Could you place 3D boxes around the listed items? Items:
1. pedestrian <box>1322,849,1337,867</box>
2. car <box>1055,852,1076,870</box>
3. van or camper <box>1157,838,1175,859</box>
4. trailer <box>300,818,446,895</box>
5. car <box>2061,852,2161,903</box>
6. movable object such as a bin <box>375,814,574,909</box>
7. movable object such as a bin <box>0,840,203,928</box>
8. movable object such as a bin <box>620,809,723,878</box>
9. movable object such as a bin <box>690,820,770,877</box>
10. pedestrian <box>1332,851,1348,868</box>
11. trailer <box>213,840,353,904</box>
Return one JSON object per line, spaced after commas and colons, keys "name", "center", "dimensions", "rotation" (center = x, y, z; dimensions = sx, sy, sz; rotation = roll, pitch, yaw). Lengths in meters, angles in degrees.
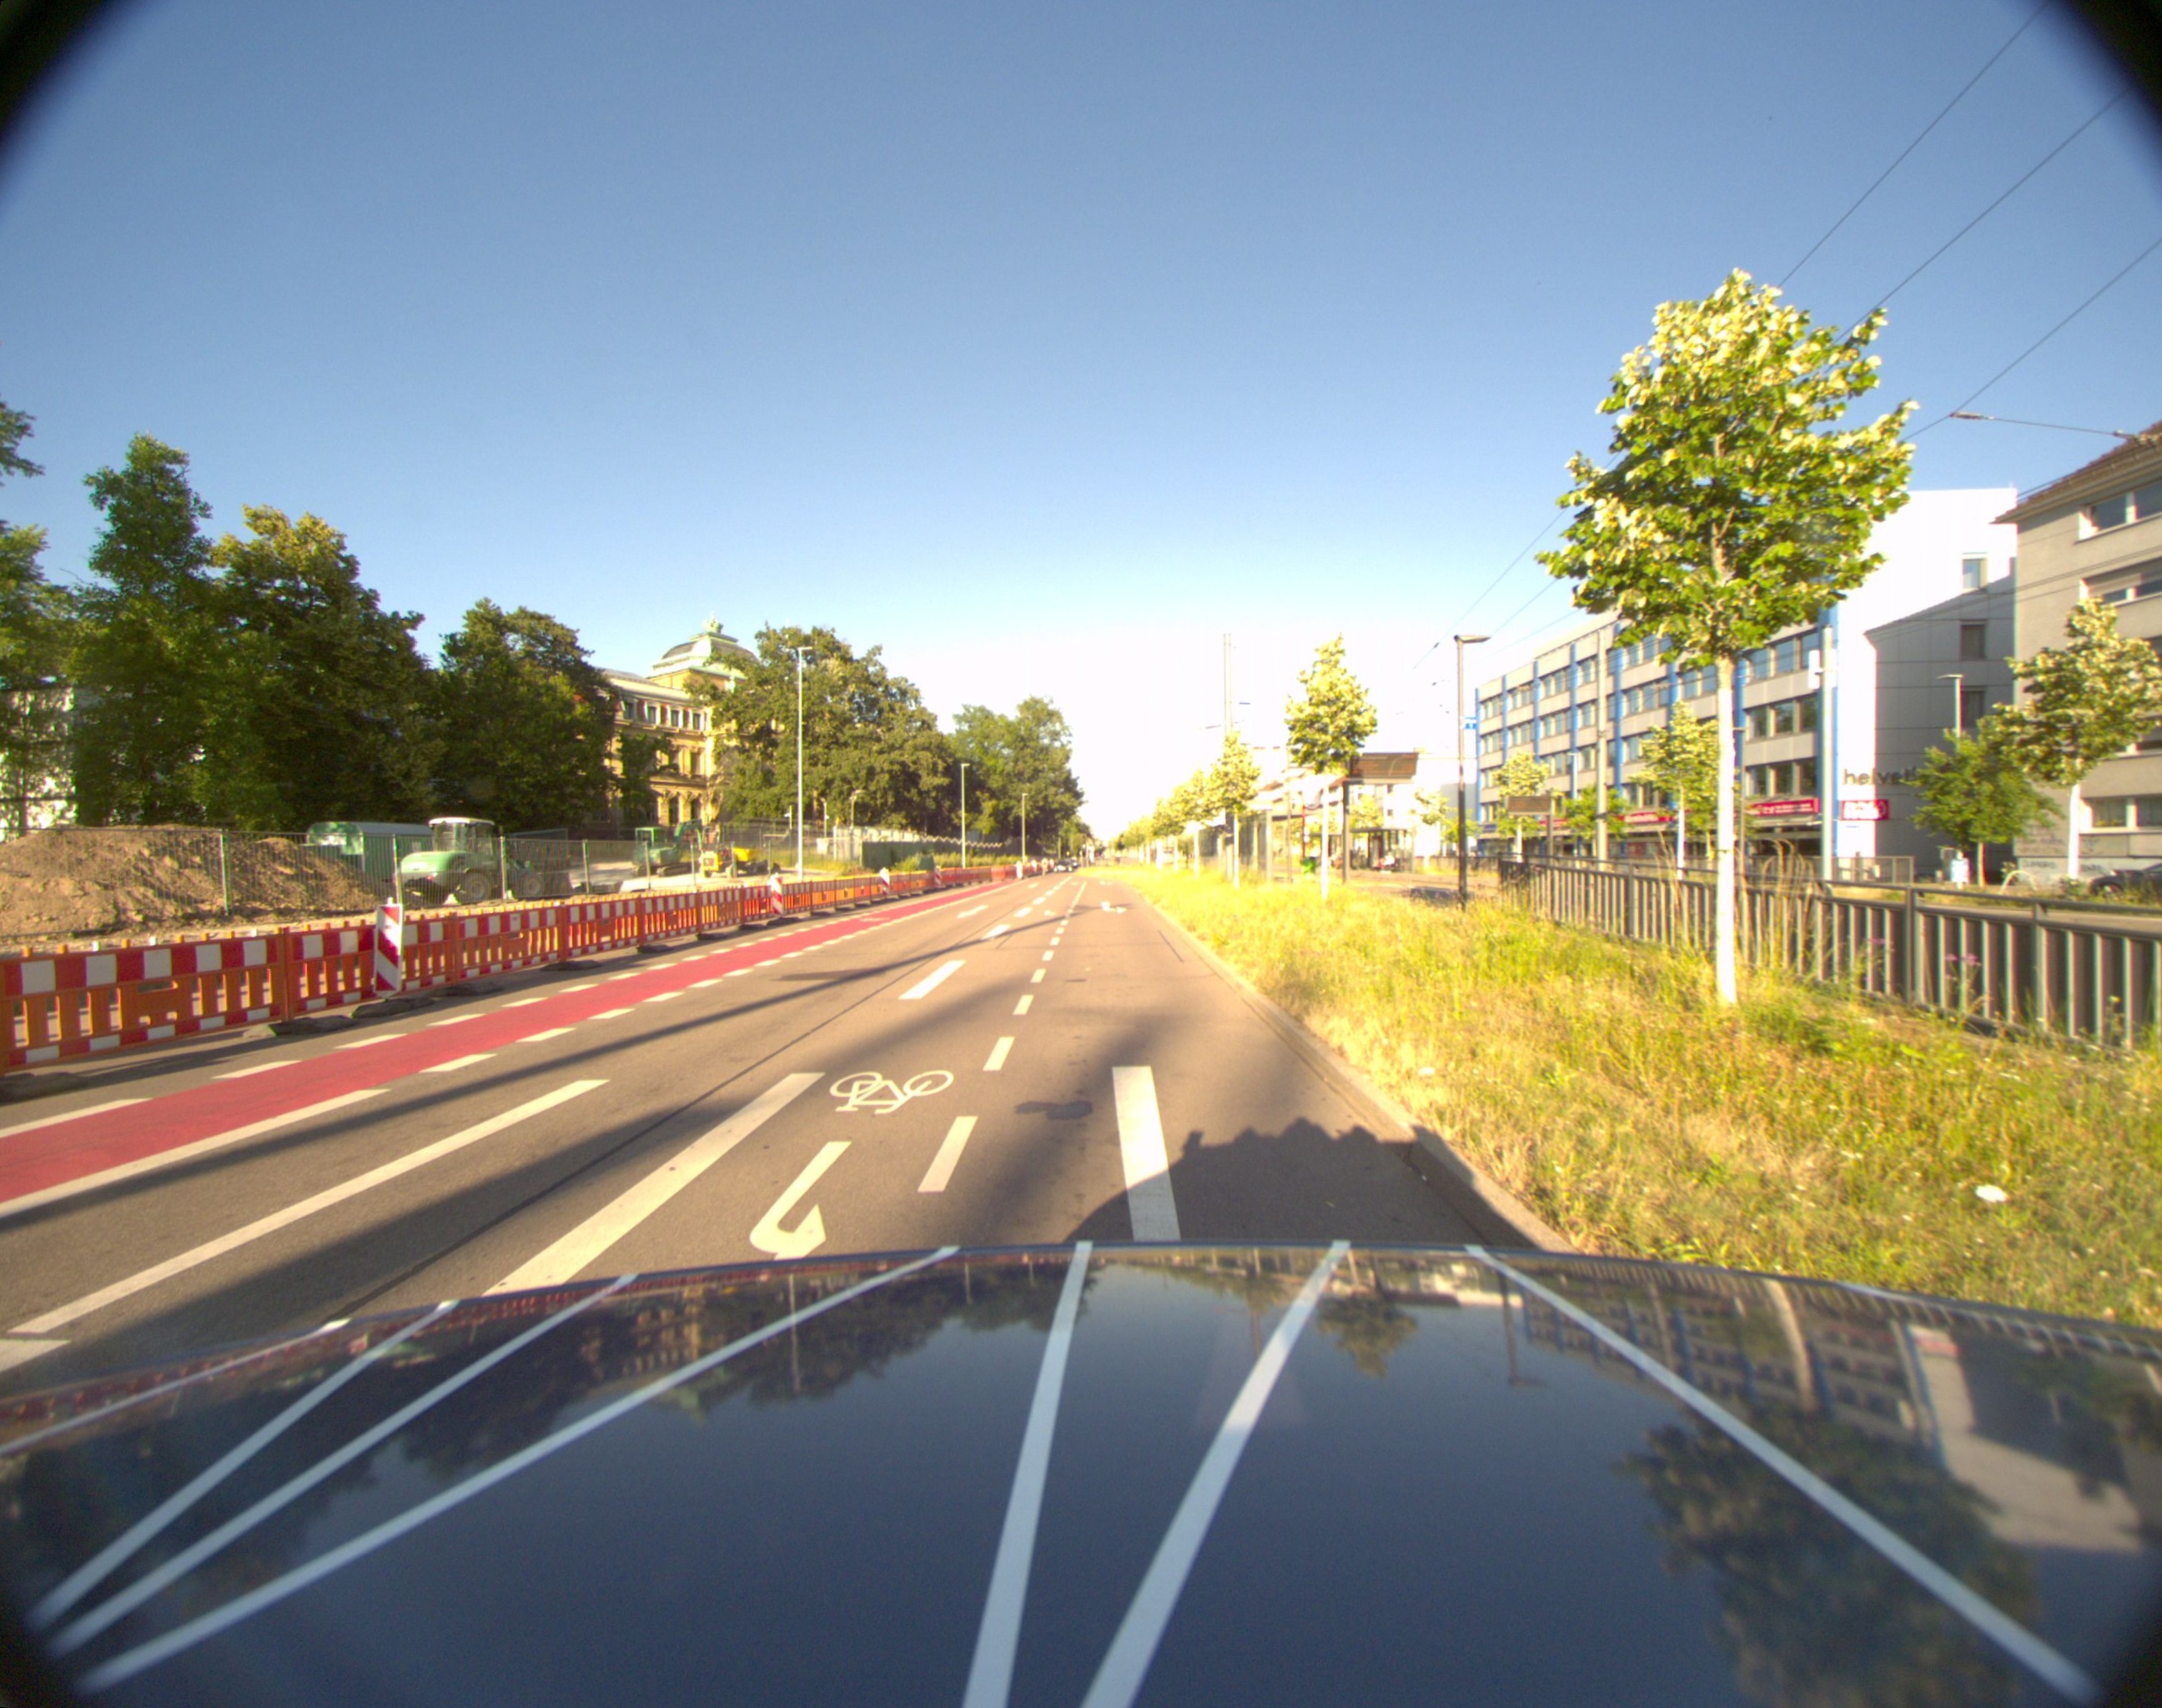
{"name": "pedestrian", "center": [18.856, 0.303, 57.655], "dimensions": [0.840, 1.402, 0.804], "rotation": [0, 1, 1]}
{"name": "car", "center": [-1.618, 0.758, 81.037], "dimensions": [2.080, 1.827, 4.000], "rotation": [-1, 0, 1]}
{"name": "van or camper", "center": [13.386, -0.876, 119.517], "dimensions": [2.510, 3.149, 7.477], "rotation": [-1, 0, 4]}
{"name": "trailer", "center": [-31.504, 0.033, 34.026], "dimensions": [2.616, 3.075, 3.981], "rotation": [0, 6, -2]}
{"name": "car", "center": [33.247, 0.710, 22.789], "dimensions": [1.998, 1.499, 4.431], "rotation": [0, 0, 1]}
{"name": "movable object such as a bin", "center": [-19.007, 0.208, 24.215], "dimensions": [2.281, 2.688, 4.942], "rotation": [-1, 0, 1]}
{"name": "movable object such as a bin", "center": [-30.098, 0.836, 22.583], "dimensions": [5.044, 2.311, 2.221], "rotation": [0, 6, -2]}
{"name": "movable object such as a bin", "center": [-22.467, -0.536, 42.010], "dimensions": [2.280, 3.537, 5.501], "rotation": [-1, 0, 6]}
{"name": "movable object such as a bin", "center": [-18.707, -0.270, 40.728], "dimensions": [1.997, 2.887, 4.002], "rotation": [-1, 0, 8]}
{"name": "pedestrian", "center": [18.764, 0.387, 55.085], "dimensions": [0.936, 1.190, 0.764], "rotation": [0, 1, 1]}
{"name": "trailer", "center": [-31.636, 0.670, 30.221], "dimensions": [2.954, 2.311, 2.221], "rotation": [0, 6, -2]}
